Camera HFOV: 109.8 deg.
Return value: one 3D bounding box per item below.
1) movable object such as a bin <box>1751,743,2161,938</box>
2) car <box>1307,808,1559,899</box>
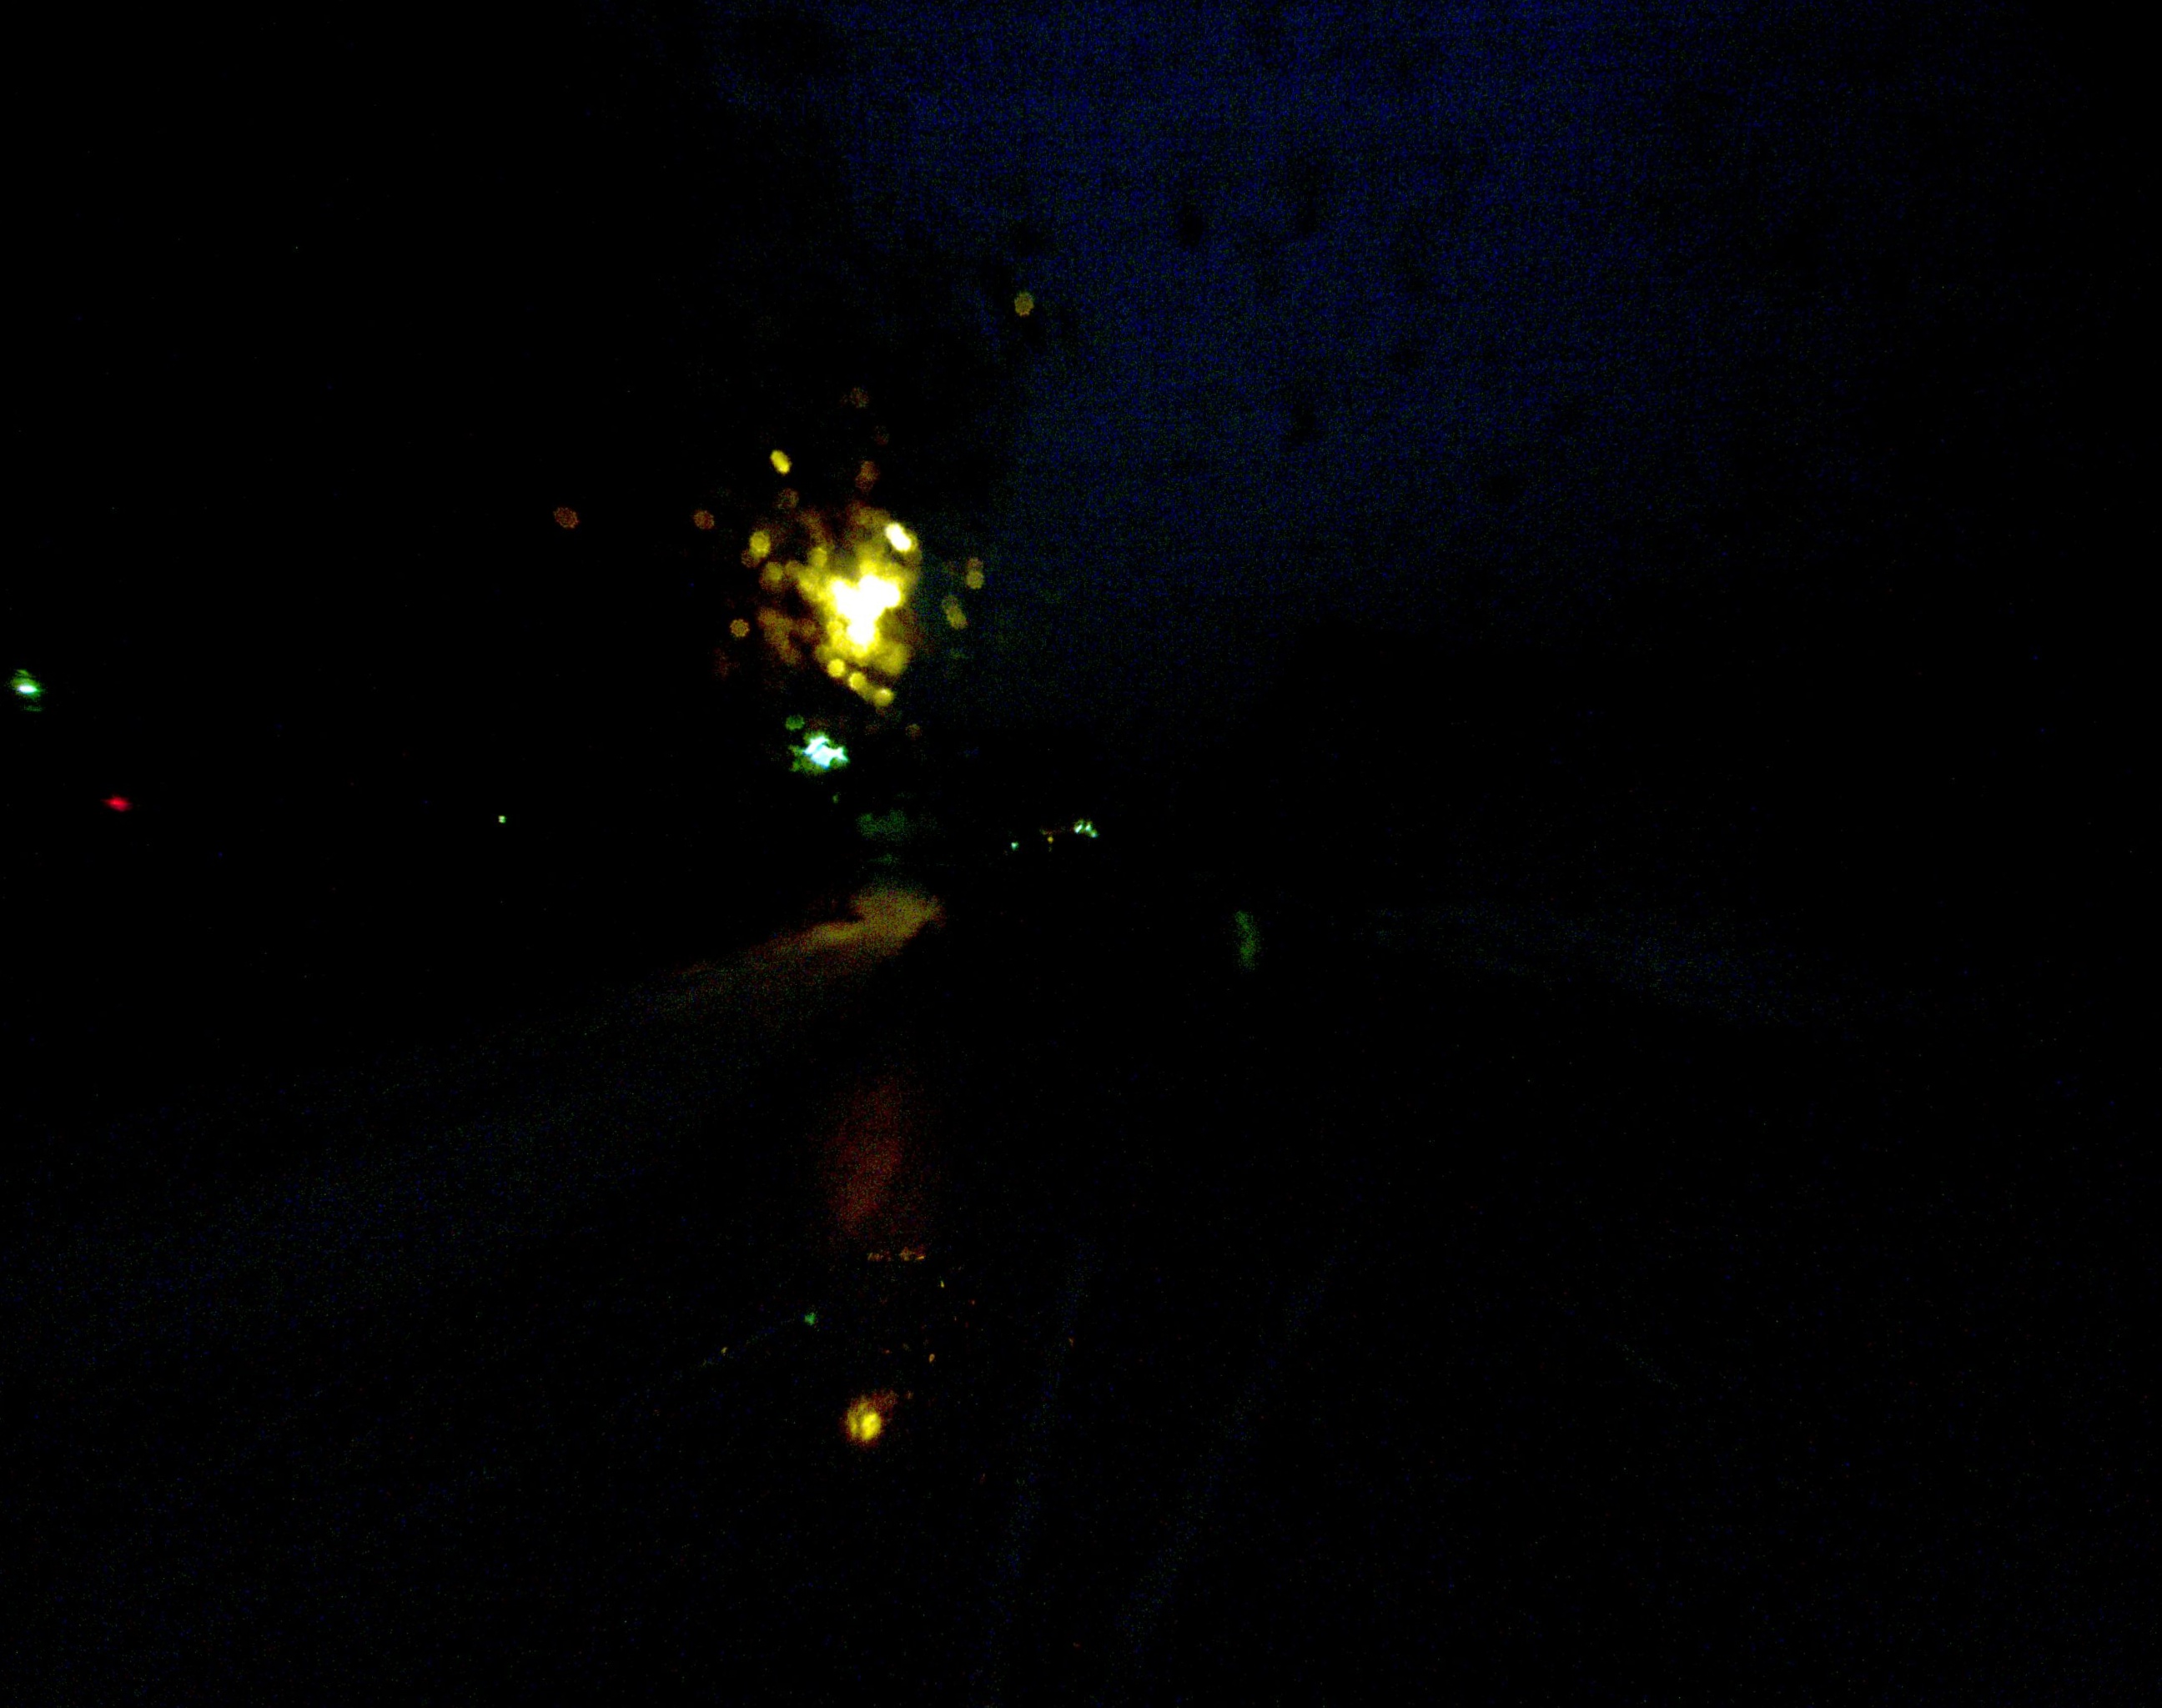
[{"bbox_3d":[8.798,-0.097,7.839,2.367,1.639,1.443,-5,1,19],"label":"movable object such as a bin"},{"bbox_3d":[8.577,-0.095,18.847,5.276,2.003,2.212,-1,4,-5],"label":"car"}]
